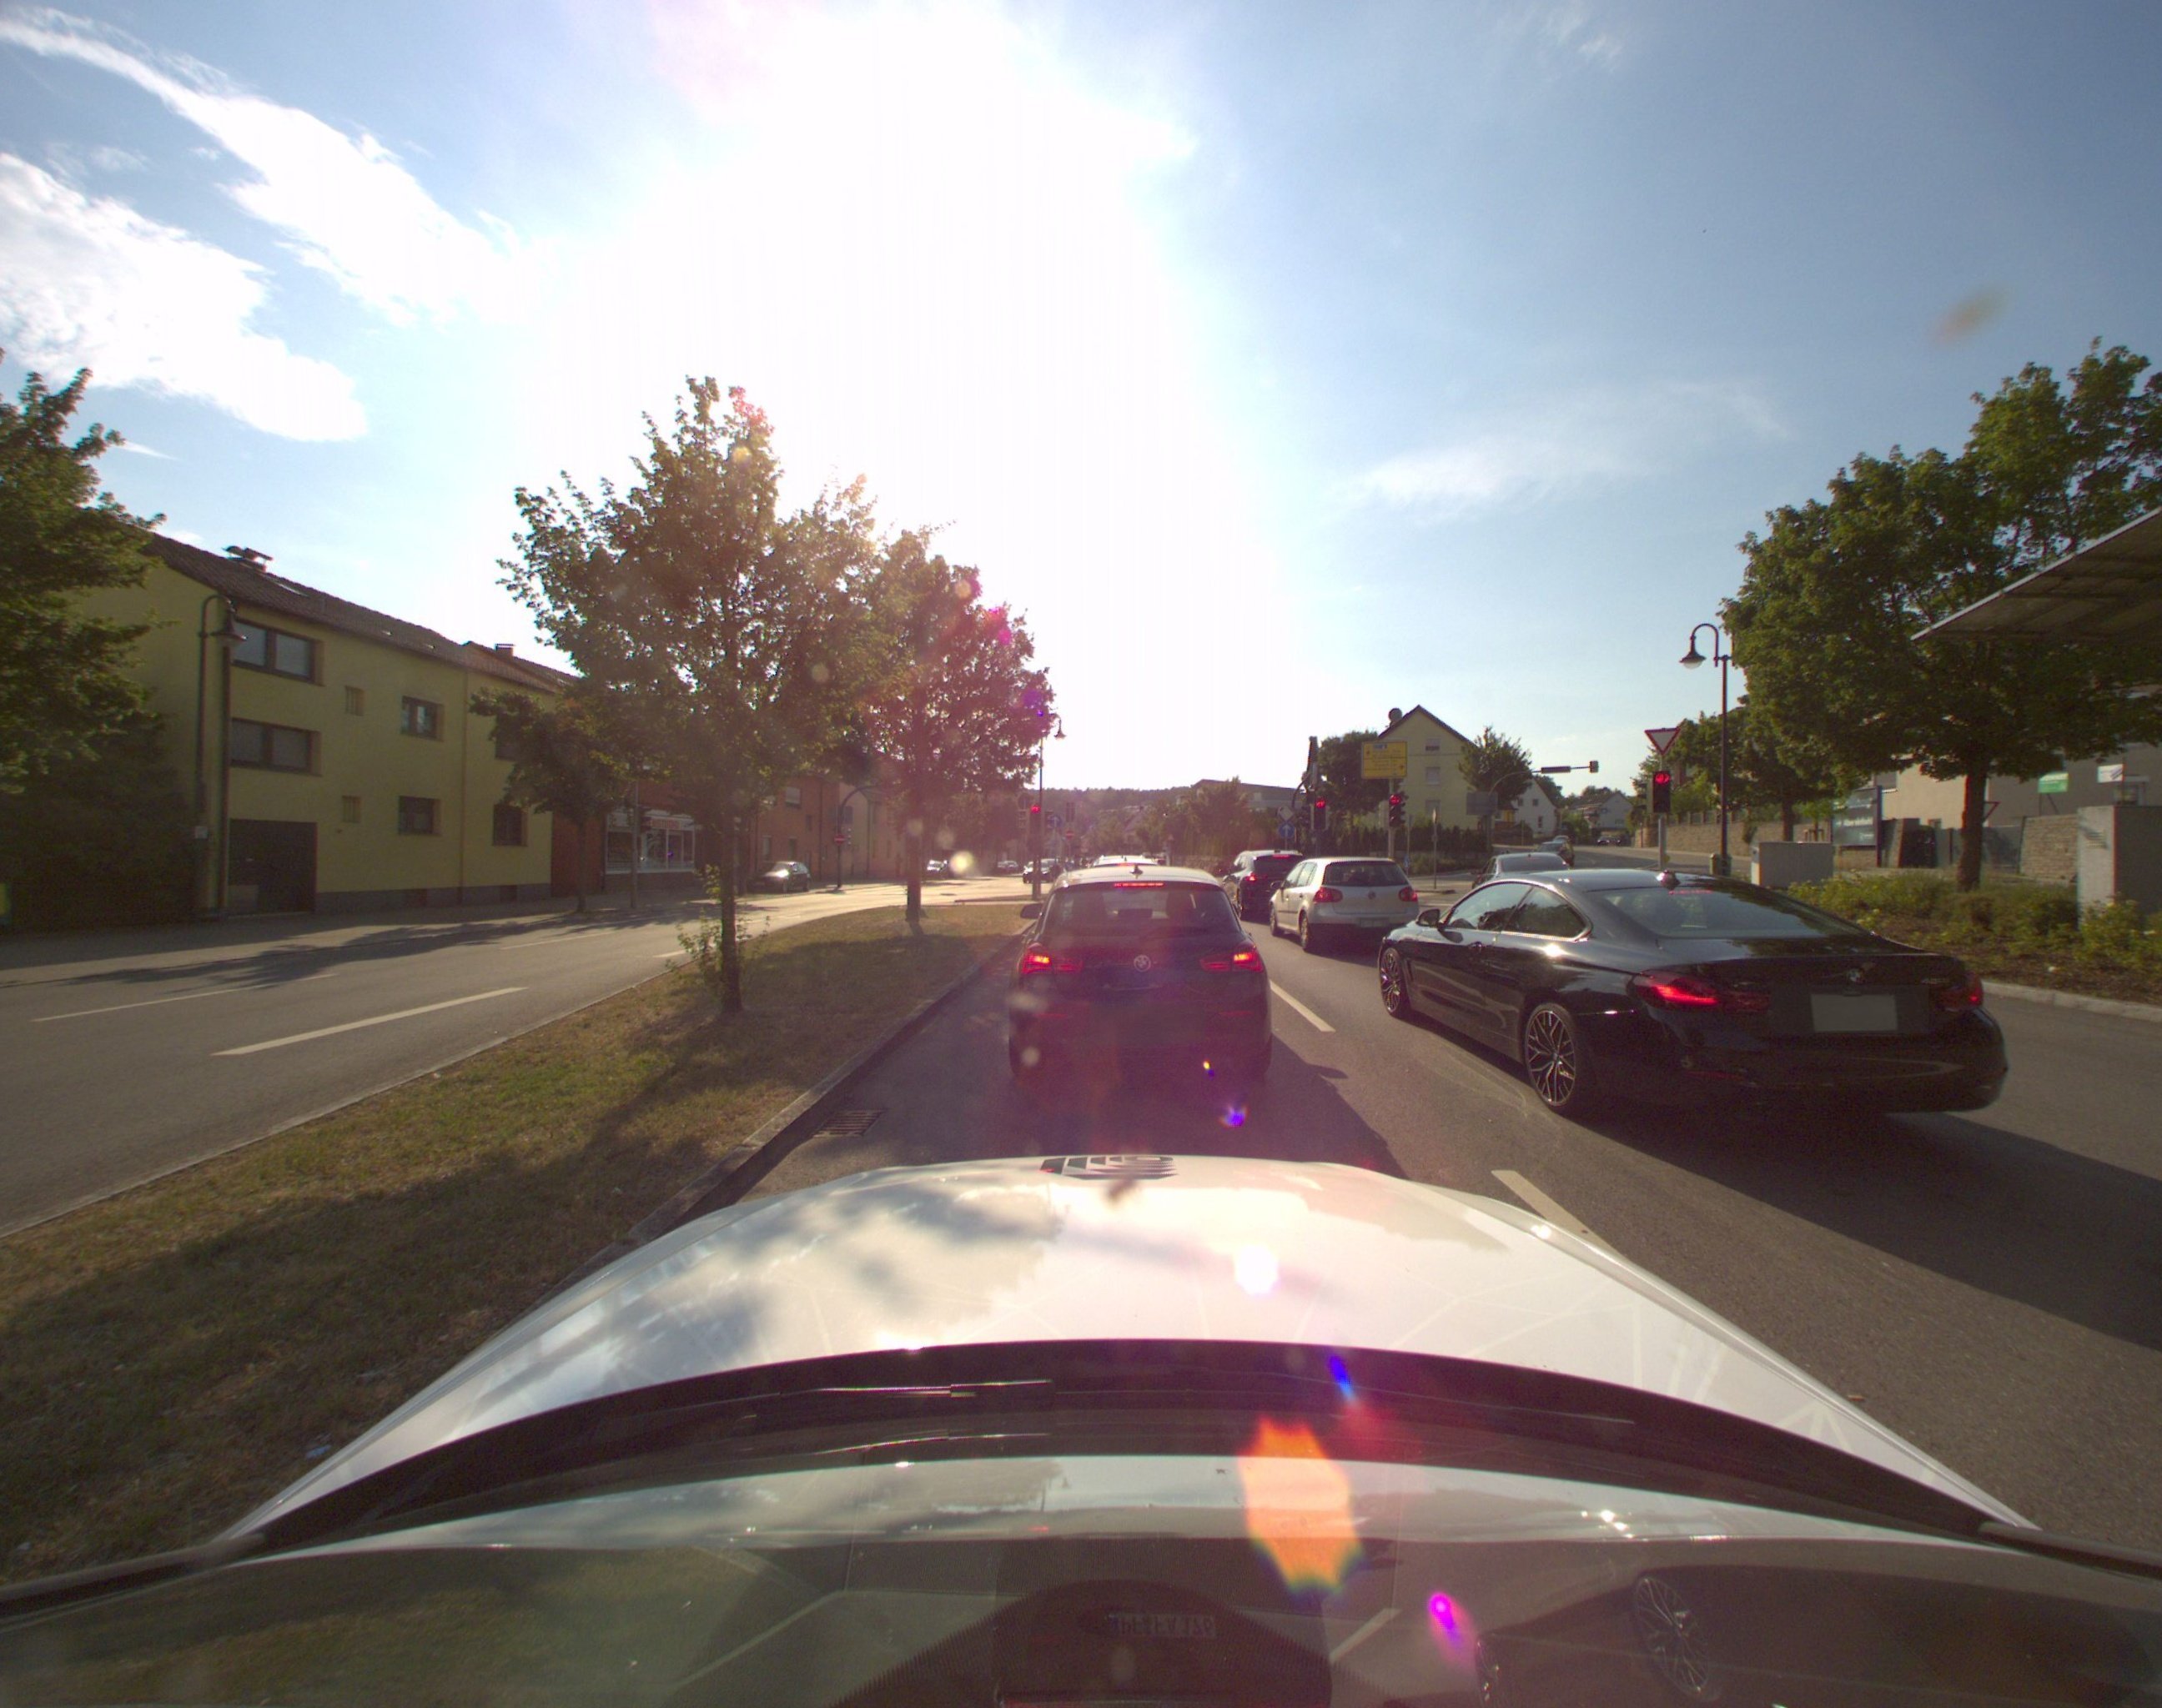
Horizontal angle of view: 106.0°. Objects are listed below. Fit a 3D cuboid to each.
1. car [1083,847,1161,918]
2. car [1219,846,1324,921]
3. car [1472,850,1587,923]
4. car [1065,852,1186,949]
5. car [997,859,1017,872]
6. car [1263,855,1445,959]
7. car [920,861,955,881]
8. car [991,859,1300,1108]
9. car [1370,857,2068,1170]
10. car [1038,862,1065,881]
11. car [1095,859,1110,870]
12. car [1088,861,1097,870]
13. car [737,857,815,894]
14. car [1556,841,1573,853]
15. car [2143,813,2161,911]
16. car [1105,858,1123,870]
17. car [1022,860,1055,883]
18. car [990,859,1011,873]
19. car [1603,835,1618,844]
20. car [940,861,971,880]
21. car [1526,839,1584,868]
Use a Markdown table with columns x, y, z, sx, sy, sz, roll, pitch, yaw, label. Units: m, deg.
| x | y | z | sx | sy | sz | roll | pitch | yaw | label |
| --- | --- | --- | --- | --- | --- | --- | --- | --- | --- |
| 1.085 | 0.659 | 21.080 | 1.808 | 1.641 | 4.245 | -1 | 0 | 3 | car |
| 4.597 | 0.662 | 20.258 | 1.808 | 1.666 | 4.351 | -1 | 0 | 3 | car |
| 9.904 | 0.635 | 18.306 | 1.666 | 1.435 | 4.613 | -1 | 0 | 21 | car |
| 0.800 | 0.714 | 14.450 | 1.808 | 1.451 | 4.245 | -1 | 0 | 3 | car |
| -9.319 | 1.400 | 103.213 | 1.916 | 1.596 | 4.004 | 0 | 0 | 4 | car |
| 4.310 | 0.749 | 13.586 | 1.808 | 1.446 | 4.351 | -1 | 0 | 3 | car |
| -11.845 | 1.356 | 67.522 | 1.916 | 1.596 | 4.004 | 0 | 0 | 4 | car |
| 0.500 | 0.772 | 6.922 | 1.783 | 1.414 | 4.351 | -1 | 0 | 3 | car |
| 3.642 | 0.733 | 5.864 | 1.808 | 1.388 | 4.351 | -1 | 0 | 3 | car |
| -2.212 | 1.330 | 62.463 | 1.685 | 1.353 | 4.004 | 0 | 0 | 4 | car |
| 3.362 | 1.634 | 129.279 | 1.887 | 1.702 | 4.518 | -2 | 0 | -4 | car |
| 2.331 | 2.306 | 164.054 | 1.917 | 1.596 | 4.002 | 0 | 0 | 2 | car |
| -14.155 | 0.956 | 38.048 | 1.835 | 1.552 | 4.005 | 2 | 0 | 5 | car |
| 60.084 | -0.913 | 101.163 | 1.694 | 1.244 | 4.027 | 0 | 4 | 33 | car |
| 19.460 | 0.113 | 12.242 | 3.958 | 1.608 | 1.861 | 0 | 0 | 14 | car |
| 4.359 | 1.348 | 108.176 | 1.858 | 1.485 | 4.652 | 0 | 0 | -4 | car |
| -2.852 | 1.166 | 55.056 | 1.759 | 1.458 | 4.004 | 0 | 0 | 4 | car |
| -9.626 | 1.391 | 97.711 | 1.916 | 1.596 | 4.004 | 0 | 0 | 4 | car |
| 89.994 | -2.436 | 138.409 | 1.759 | 1.580 | 4.025 | -1 | 0 | 37 | car |
| -11.320 | 1.487 | 73.605 | 1.916 | 1.596 | 4.004 | 0 | 0 | 4 | car |
| 28.977 | -0.057 | 49.715 | 4.091 | 1.507 | 1.771 | -4 | 2 | -40 | car |
